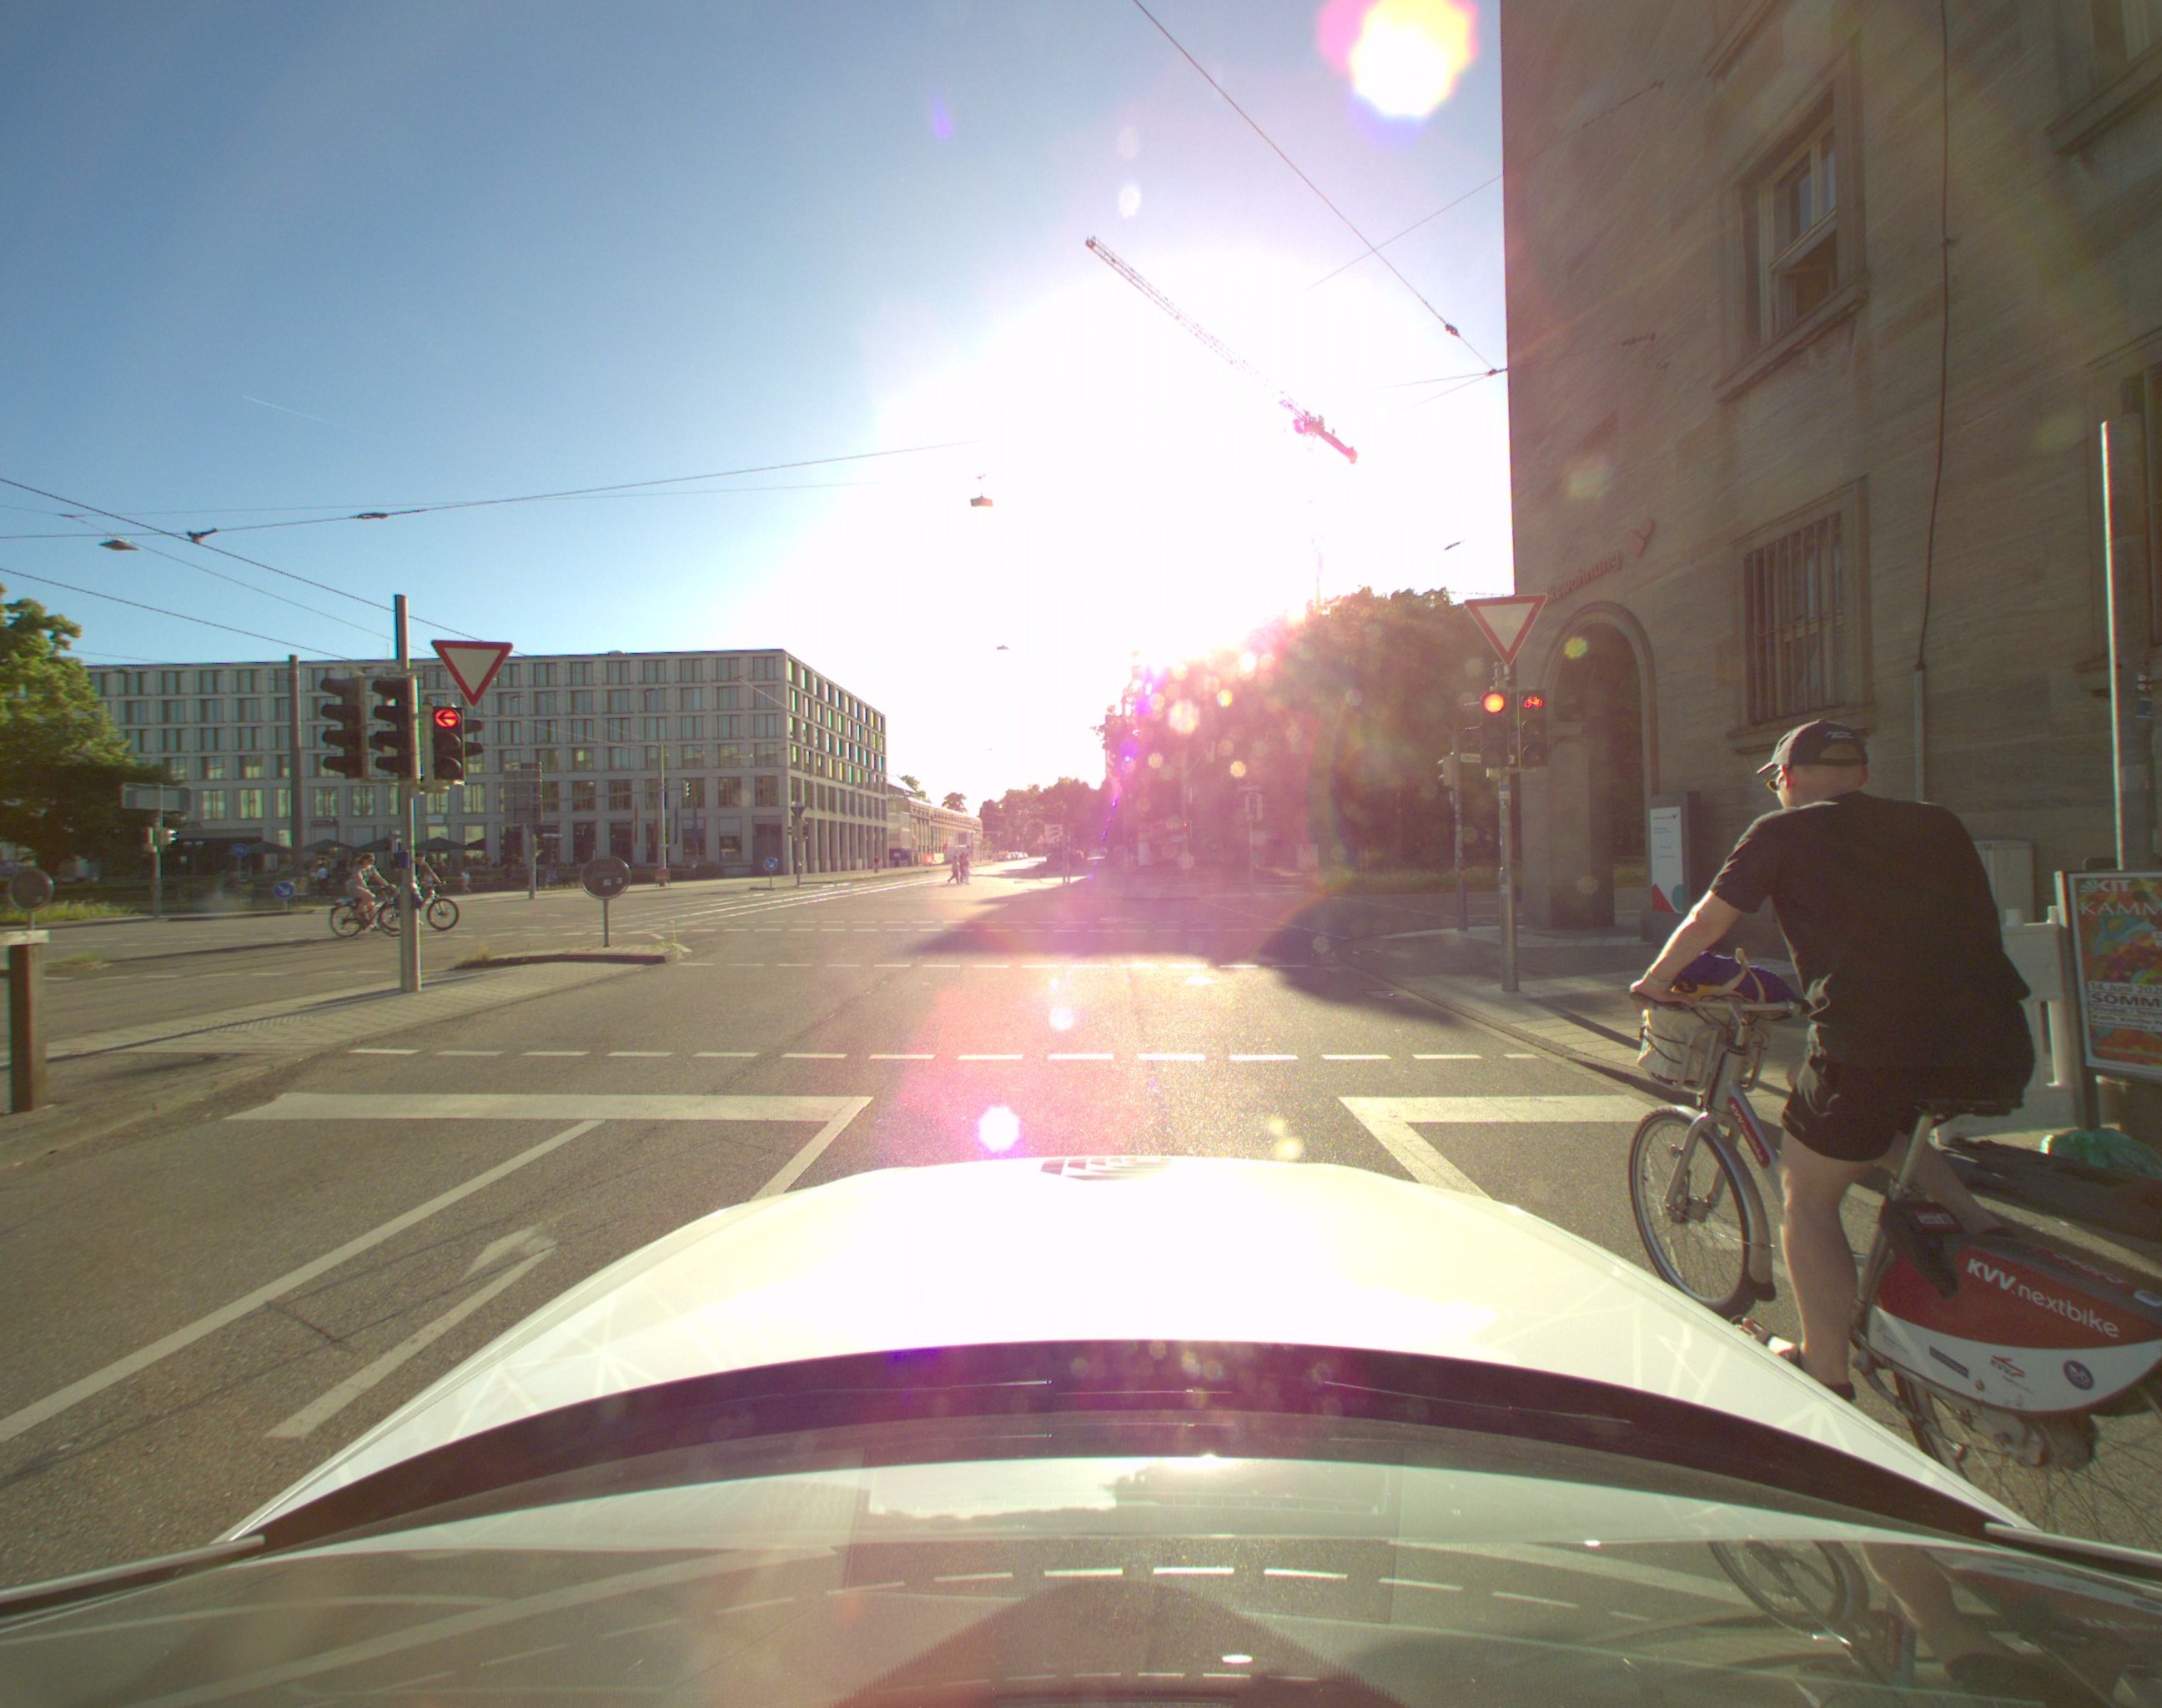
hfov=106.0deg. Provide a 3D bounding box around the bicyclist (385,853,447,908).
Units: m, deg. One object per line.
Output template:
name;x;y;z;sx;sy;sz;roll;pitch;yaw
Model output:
bicyclist;-15.326;0.597;18.787;0.718;1.218;0.798;-2;0;1

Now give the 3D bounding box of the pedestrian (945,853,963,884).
pedestrian;-6.816;0.783;43.828;0.792;1.639;0.534;-2;0;4

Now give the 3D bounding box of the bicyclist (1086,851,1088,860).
bicyclist;0.732;0.180;99.463;0.317;1.127;0.291;-2;0;1

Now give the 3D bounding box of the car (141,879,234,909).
car;-46.954;2.096;42.823;3.175;1.438;1.471;-2;0;-1

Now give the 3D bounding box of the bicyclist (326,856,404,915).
bicyclist;-15.226;0.656;17.348;0.922;1.218;0.796;-2;0;-1

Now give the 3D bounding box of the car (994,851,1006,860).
car;-15.528;0.308;156.626;1.724;1.653;4.002;-2;0;2

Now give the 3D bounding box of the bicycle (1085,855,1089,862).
bicycle;0.736;0.510;99.575;0.323;0.868;1.484;-2;0;2

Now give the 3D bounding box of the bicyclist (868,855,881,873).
bicyclist;-19.147;0.889;75.563;0.872;1.641;0.822;-2;0;3

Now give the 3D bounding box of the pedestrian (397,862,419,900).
pedestrian;-36.350;1.458;43.986;0.528;2.013;0.800;-2;0;-5

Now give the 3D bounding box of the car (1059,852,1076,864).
car;-1.506;0.443;91.726;1.814;1.279;3.999;-2;0;0

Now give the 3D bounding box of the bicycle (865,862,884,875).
bicycle;-19.144;1.306;75.633;0.872;1.121;3.015;-2;0;3

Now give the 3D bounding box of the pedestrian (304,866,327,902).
pedestrian;-41.332;1.592;43.993;0.557;1.903;0.684;-2;0;10

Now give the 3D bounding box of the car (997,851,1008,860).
car;-15.441;0.244;160.714;1.724;1.653;4.002;-2;0;2

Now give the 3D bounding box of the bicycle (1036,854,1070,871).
bicycle;-2.322;0.729;67.363;2.728;1.367;0.633;-1;-1;12

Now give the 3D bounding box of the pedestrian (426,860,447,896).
pedestrian;-36.430;1.345;46.063;0.528;2.013;0.800;-2;0;-5

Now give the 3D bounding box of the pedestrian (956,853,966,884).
pedestrian;-6.668;0.799;45.231;0.440;1.662;0.376;-2;0;1

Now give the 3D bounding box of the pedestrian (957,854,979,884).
pedestrian;-5.988;0.794;43.287;0.980;1.587;0.661;-2;-1;3

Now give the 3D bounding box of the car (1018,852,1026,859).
car;-14.062;0.330;194.319;1.478;1.750;4.002;-2;0;2

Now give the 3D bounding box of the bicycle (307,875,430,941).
bicycle;-15.138;1.125;17.338;1.846;1.291;0.791;-2;0;-2

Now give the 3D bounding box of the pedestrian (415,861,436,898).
pedestrian;-36.381;1.426;45.191;0.528;2.013;0.800;-2;0;-5

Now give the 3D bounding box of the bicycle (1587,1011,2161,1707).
bicycle;2.008;1.064;2.193;0.387;0.905;1.956;-2;0;10

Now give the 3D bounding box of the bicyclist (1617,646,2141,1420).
bicyclist;1.956;0.396;2.112;0.667;1.678;0.657;-2;0;4

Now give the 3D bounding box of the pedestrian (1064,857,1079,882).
pedestrian;-0.512;0.846;44.430;0.749;1.332;0.743;-2;0;3

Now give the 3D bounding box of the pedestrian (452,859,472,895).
pedestrian;-34.953;1.292;45.974;0.528;2.013;0.800;-2;0;-5

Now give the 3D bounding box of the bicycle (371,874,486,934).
bicycle;-15.016;1.136;18.778;1.979;1.291;0.792;-2;0;0
